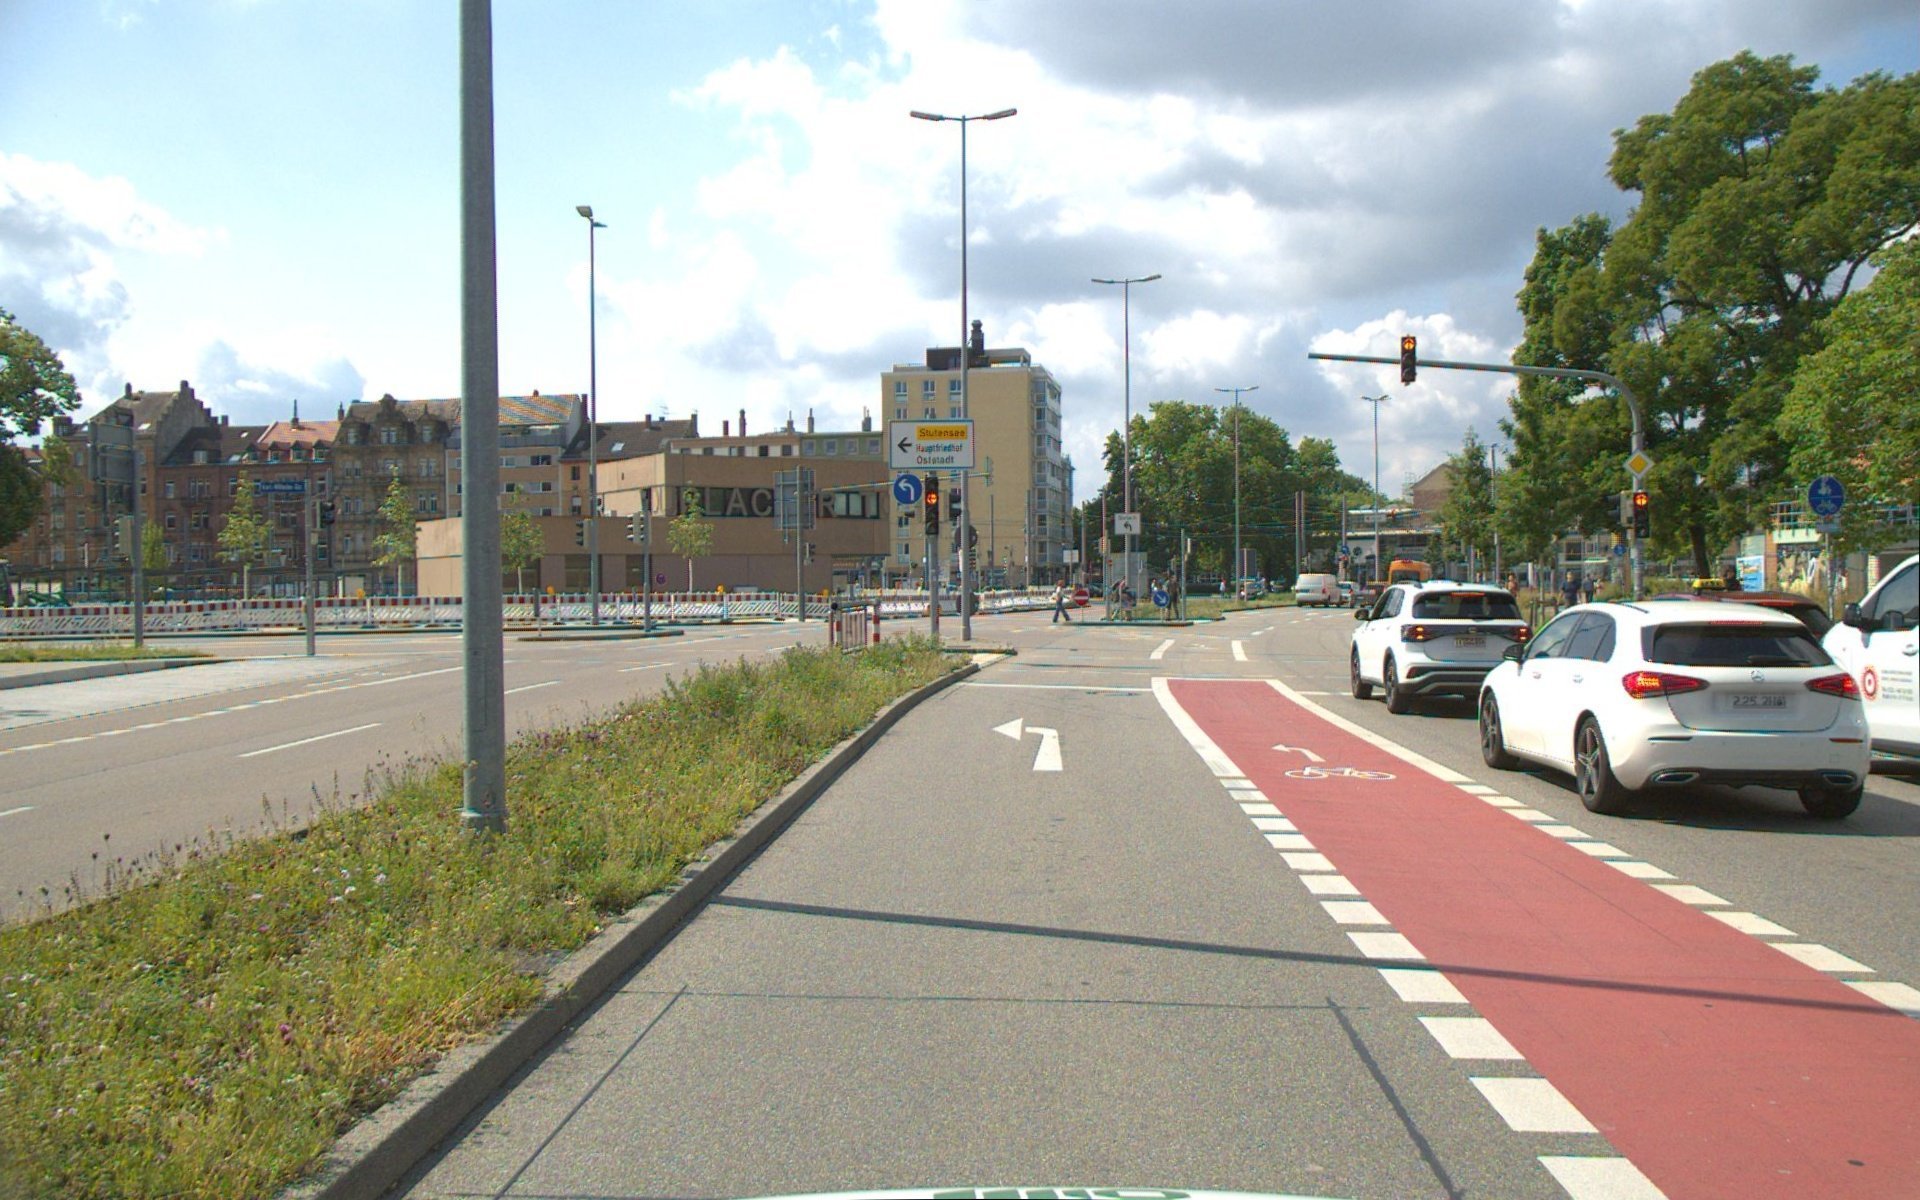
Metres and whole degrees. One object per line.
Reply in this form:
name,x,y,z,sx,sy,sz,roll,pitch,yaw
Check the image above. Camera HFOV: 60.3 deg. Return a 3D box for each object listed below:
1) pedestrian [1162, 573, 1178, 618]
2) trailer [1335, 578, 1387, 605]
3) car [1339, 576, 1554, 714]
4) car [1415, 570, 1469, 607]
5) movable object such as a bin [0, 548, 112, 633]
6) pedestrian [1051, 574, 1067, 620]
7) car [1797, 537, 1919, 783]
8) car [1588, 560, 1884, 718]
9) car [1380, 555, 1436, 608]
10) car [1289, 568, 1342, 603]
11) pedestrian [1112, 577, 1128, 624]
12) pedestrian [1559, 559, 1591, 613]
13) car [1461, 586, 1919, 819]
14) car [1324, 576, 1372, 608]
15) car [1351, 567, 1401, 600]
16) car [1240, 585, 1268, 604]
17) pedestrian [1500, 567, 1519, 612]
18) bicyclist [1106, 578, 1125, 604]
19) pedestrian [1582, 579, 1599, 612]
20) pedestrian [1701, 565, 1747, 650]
pedestrian,8.012,-0.167,63.080,0.513,1.713,0.624,-1,0,12
trailer,23.344,-0.496,96.165,1.955,1.503,3.995,-1,0,28
car,6.081,0.488,21.124,1.753,1.566,4.013,1,1,3
car,25.069,-0.592,85.951,1.955,1.826,3.996,-1,0,27
movable object such as a bin,-33.476,-0.323,58.805,5.500,2.935,2.251,-1,0,-44
pedestrian,3.805,-0.115,63.482,0.513,1.763,0.624,-1,0,13
car,8.351,0.460,12.449,1.901,1.902,4.828,-1,1,4
car,9.076,0.383,19.772,1.646,1.670,4.465,0,1,3
car,25.195,-1.041,92.960,2.088,2.829,4.634,-1,0,27
car,21.253,-0.878,98.745,1.966,2.001,4.634,-1,0,27
pedestrian,5.947,0.012,61.545,0.513,1.763,0.624,-1,0,12
pedestrian,17.681,-0.393,47.581,0.753,1.534,0.552,0,0,8
car,5.347,0.644,12.790,1.864,1.448,4.387,-1,1,4
car,24.960,-0.553,106.369,1.953,1.972,4.634,-1,0,27
car,25.008,-1.000,99.308,1.955,1.858,3.995,-1,0,28
car,22.502,-0.416,126.544,1.754,1.412,4.230,0,0,16
pedestrian,21.524,-0.408,64.767,0.646,1.763,0.578,-1,0,15
bicyclist,11.741,-0.712,124.803,1.195,1.943,0.858,-1,0,24
pedestrian,34.219,-0.243,89.716,0.772,1.815,0.666,-1,0,27
pedestrian,16.090,0.153,34.833,0.726,1.766,0.679,-1,0,12
